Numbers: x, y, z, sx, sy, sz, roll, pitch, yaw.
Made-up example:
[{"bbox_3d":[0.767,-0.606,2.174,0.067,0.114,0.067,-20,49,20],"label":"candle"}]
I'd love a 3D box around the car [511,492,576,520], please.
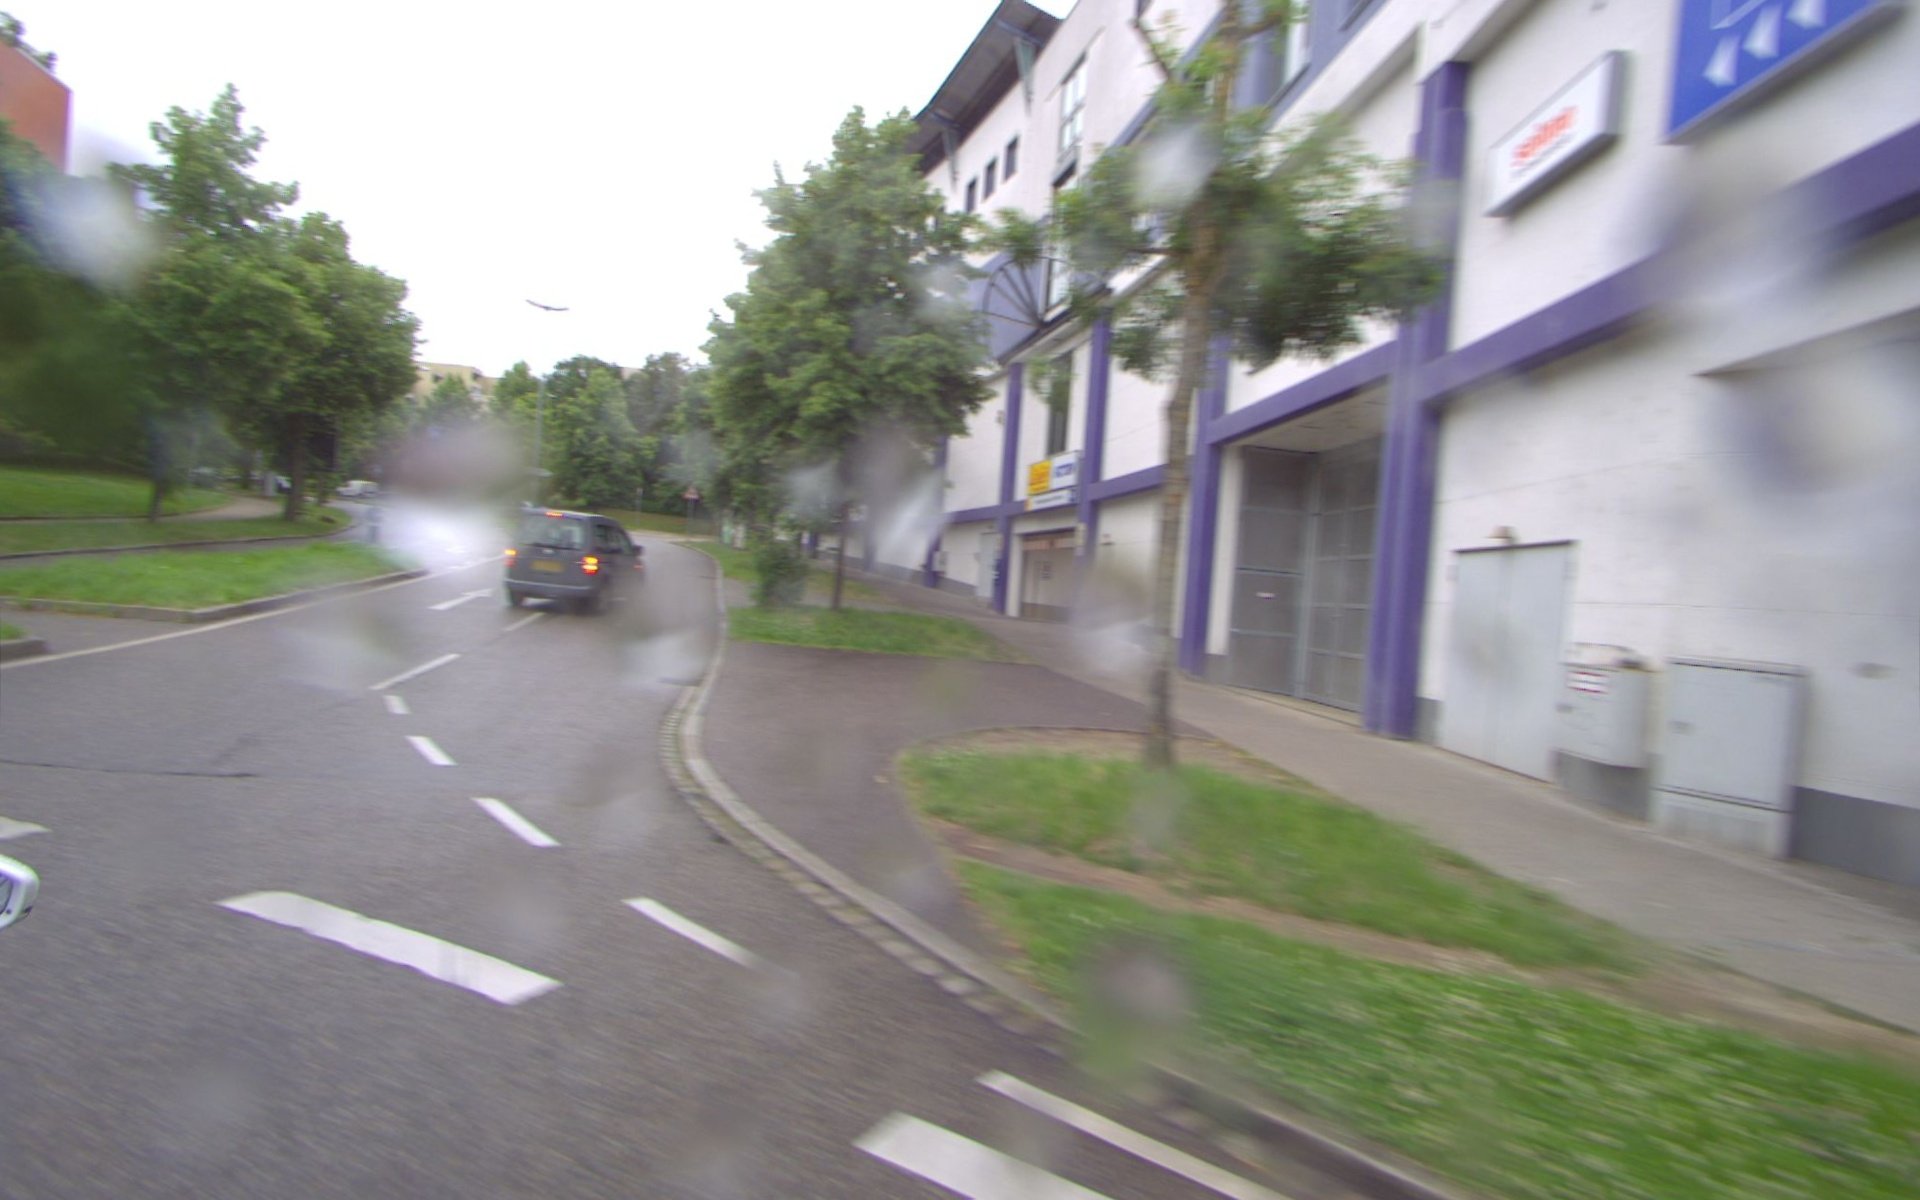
[{"bbox_3d":[-30.748,-6.929,74.323,3.924,1.586,1.885,5,2,4],"label":"car"}]

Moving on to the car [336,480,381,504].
[{"bbox_3d":[-54.579,-9.806,91.249,3.937,1.898,1.992,6,2,35],"label":"car"}]

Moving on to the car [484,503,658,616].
[{"bbox_3d":[-7.491,-0.837,19.774,1.889,1.827,3.782,6,4,-1],"label":"car"}]

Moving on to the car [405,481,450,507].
[{"bbox_3d":[-46.417,-9.229,87.677,3.799,1.898,1.845,6,2,34],"label":"car"}]
